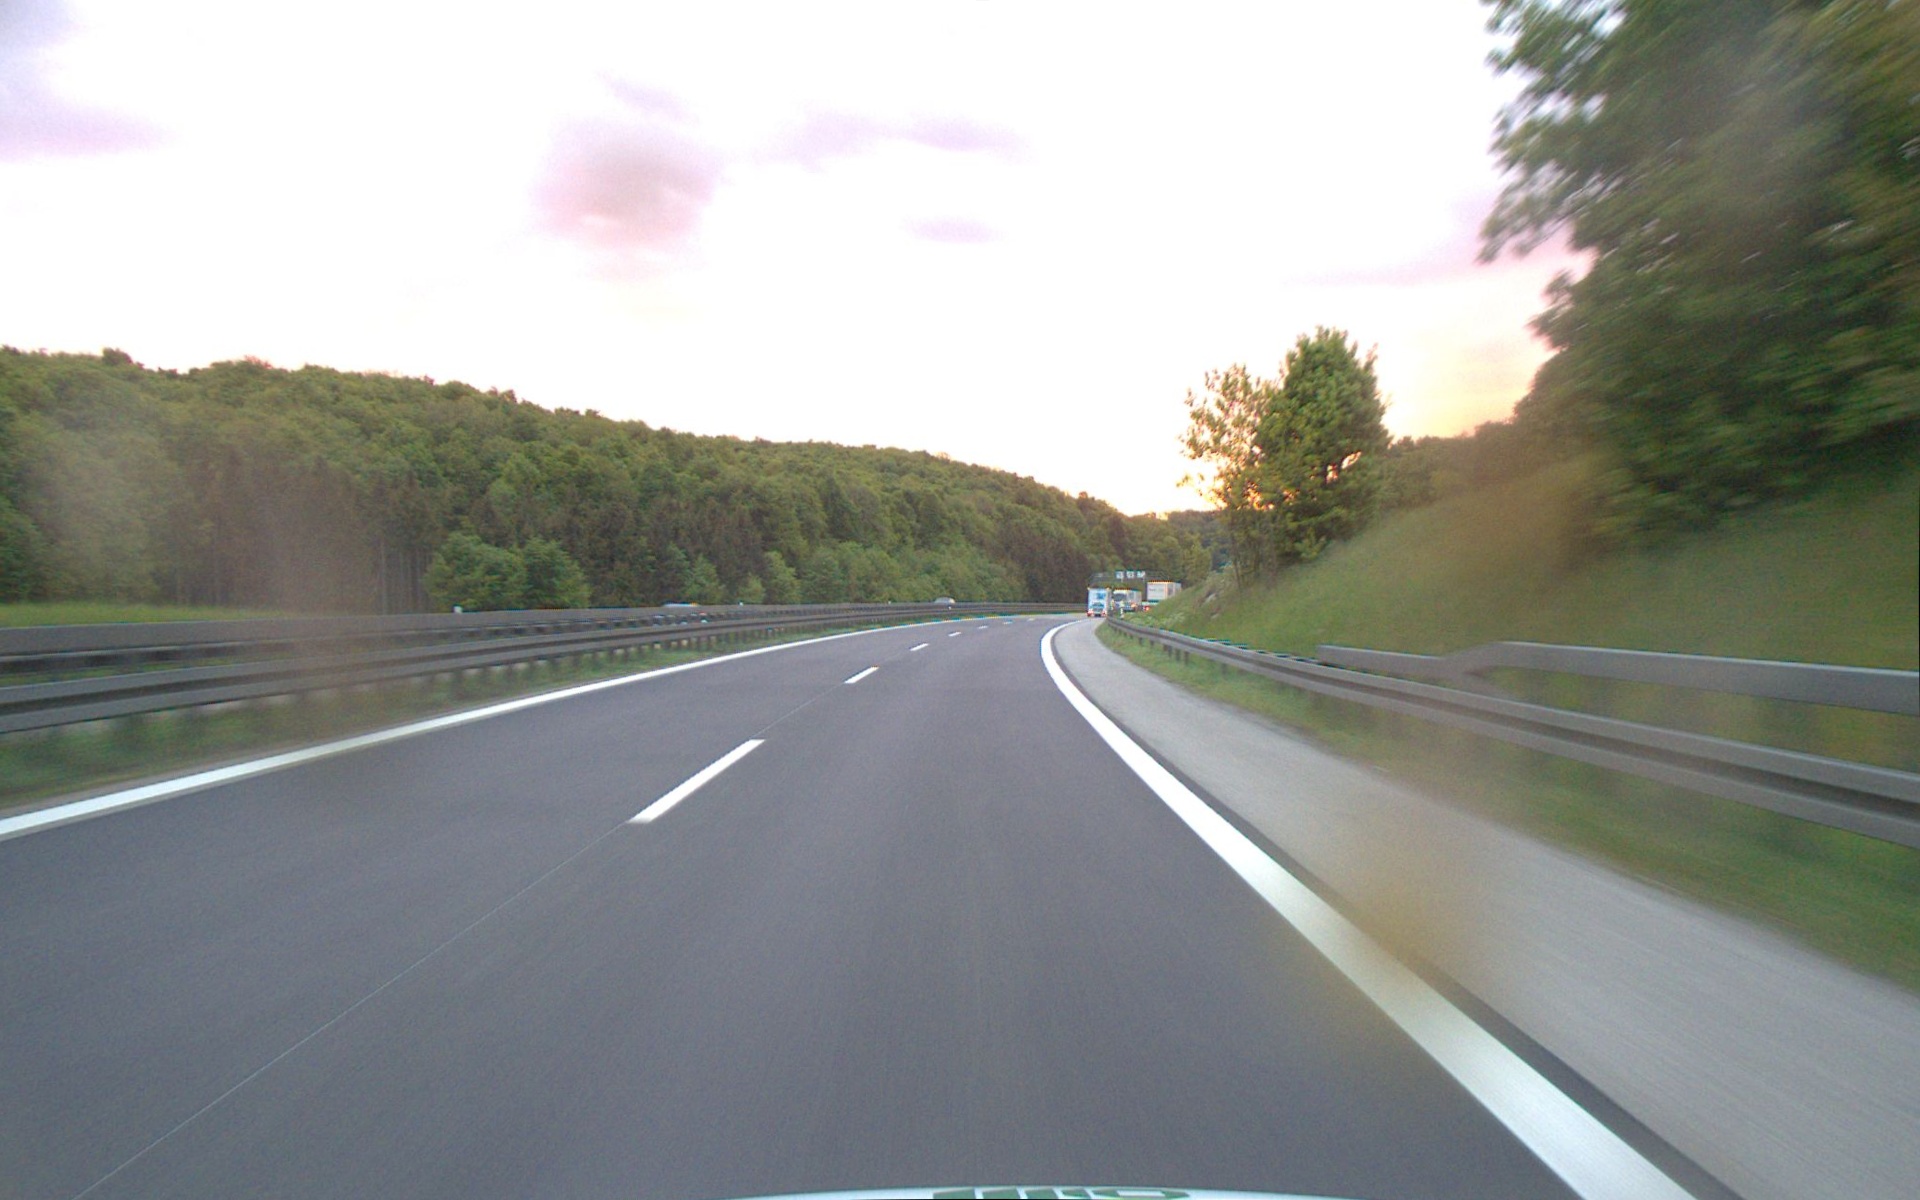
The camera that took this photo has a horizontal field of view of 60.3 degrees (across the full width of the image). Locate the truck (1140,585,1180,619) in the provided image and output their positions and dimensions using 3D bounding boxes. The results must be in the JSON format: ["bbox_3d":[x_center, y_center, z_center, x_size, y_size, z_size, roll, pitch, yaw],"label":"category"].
[{"bbox_3d":[26.353,0.236,217.219,3.873,4.362,14.335,-1,0,12],"label":"truck"}]

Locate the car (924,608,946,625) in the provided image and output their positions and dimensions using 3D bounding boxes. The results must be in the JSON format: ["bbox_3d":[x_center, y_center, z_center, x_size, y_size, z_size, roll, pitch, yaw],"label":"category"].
[{"bbox_3d":[-2.384,1.578,160.296,1.716,1.668,4.480,0,0,5],"label":"car"}]

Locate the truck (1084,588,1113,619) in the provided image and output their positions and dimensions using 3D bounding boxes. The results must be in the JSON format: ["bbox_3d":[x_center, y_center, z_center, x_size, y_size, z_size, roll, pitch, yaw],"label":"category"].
[{"bbox_3d":[13.246,0.337,157.989,2.227,2.711,5.241,-1,1,11],"label":"truck"}]

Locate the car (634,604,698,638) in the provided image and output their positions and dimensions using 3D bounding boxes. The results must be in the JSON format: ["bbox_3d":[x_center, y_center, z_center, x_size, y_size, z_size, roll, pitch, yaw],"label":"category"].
[{"bbox_3d":[-13.058,0.911,73.822,1.760,1.467,4.681,0,0,3],"label":"car"}]

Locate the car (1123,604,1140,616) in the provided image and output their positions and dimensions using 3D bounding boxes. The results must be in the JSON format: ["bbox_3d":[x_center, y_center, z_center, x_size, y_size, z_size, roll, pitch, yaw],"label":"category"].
[{"bbox_3d":[22.397,1.288,215.805,1.951,1.544,4.003,0,0,11],"label":"car"}]
